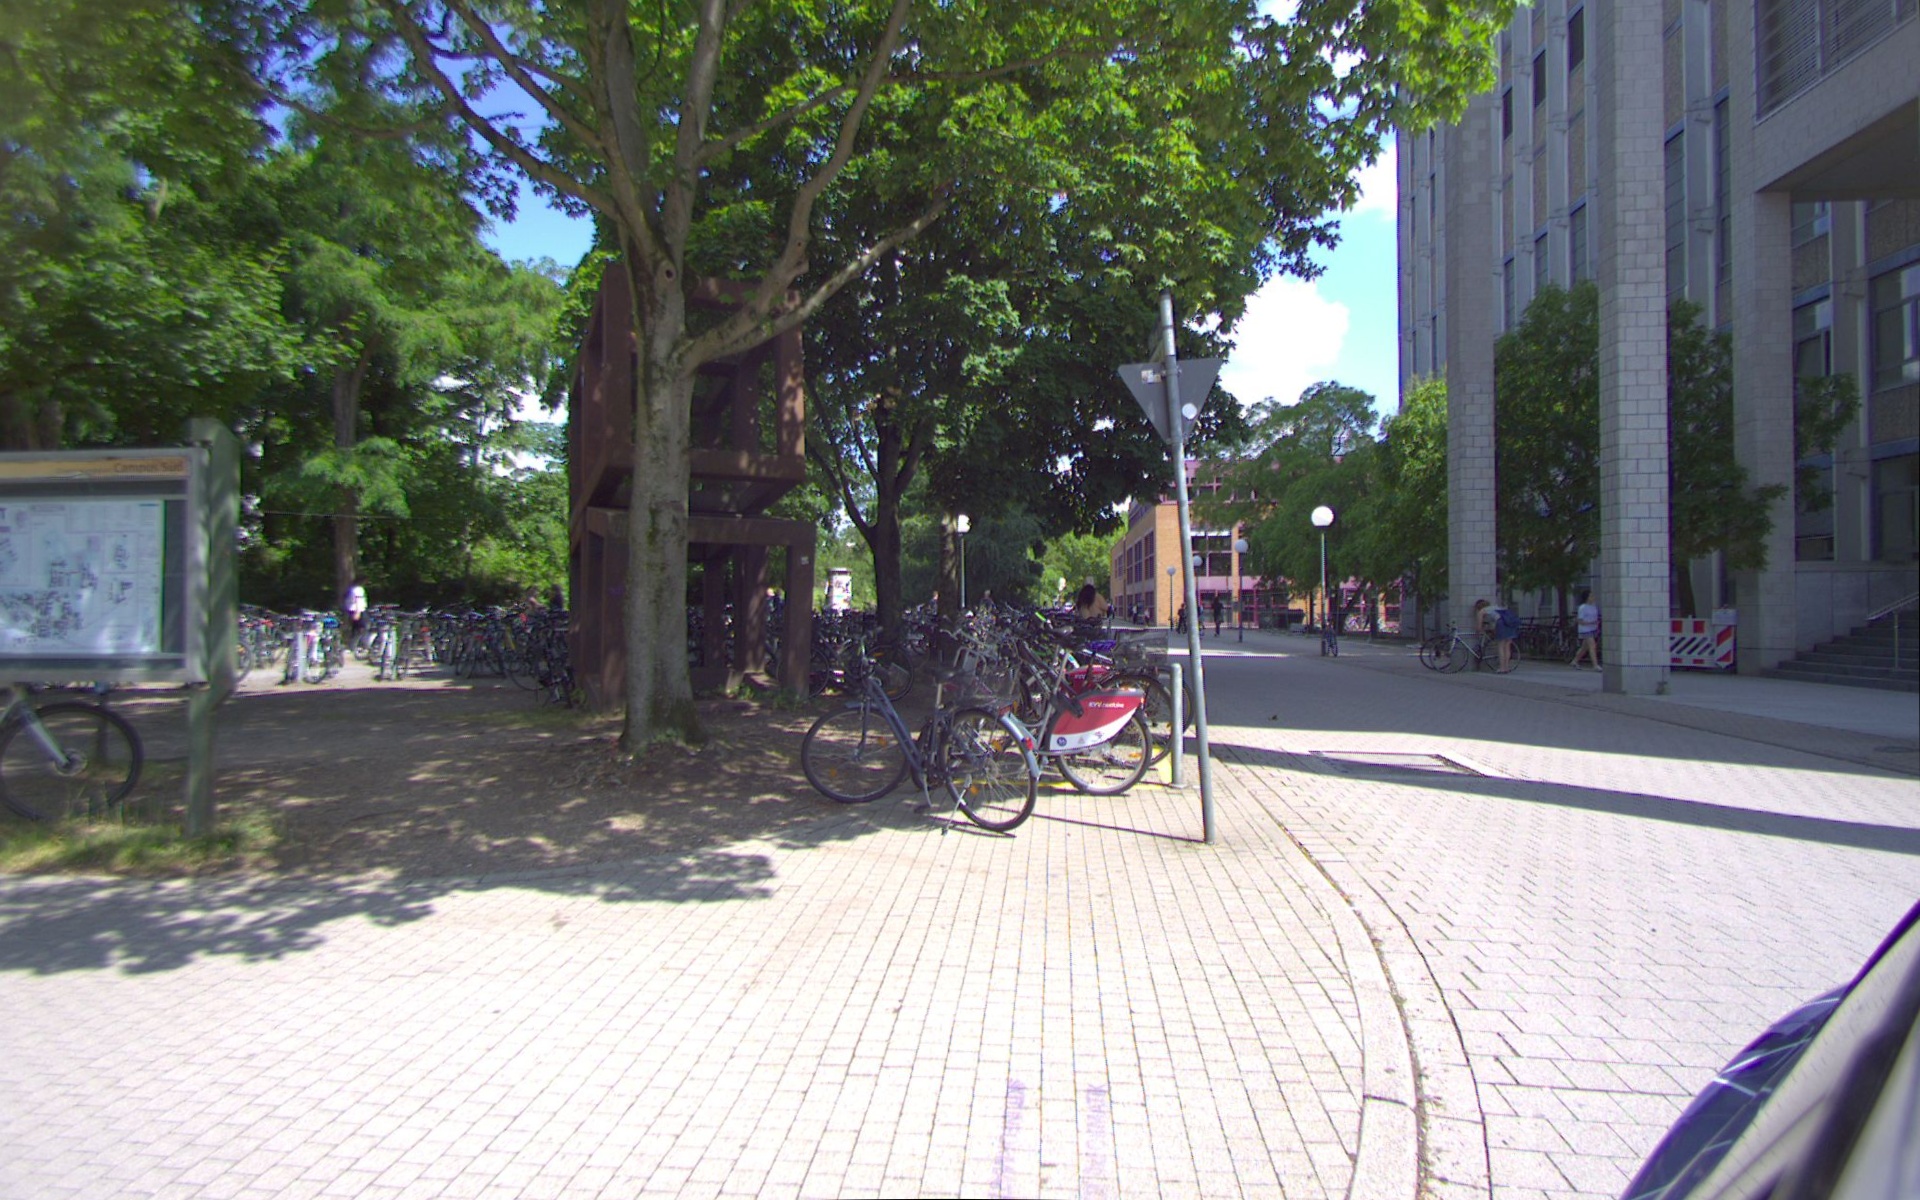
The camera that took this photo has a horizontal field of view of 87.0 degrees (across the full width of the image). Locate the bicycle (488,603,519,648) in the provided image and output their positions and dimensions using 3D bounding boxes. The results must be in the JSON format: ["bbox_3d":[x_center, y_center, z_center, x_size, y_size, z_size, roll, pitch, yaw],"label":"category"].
[{"bbox_3d":[-10.745,0.586,23.805,0.396,0.991,1.597,-1,1,-33],"label":"bicycle"}]

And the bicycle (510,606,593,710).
[{"bbox_3d":[-4.893,0.647,12.045,0.620,1.124,1.926,-1,0,-31],"label":"bicycle"}]

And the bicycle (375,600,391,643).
[{"bbox_3d":[-15.493,0.556,27.172,0.341,1.107,1.613,-1,1,-29],"label":"bicycle"}]

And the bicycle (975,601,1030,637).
[{"bbox_3d":[1.314,0.598,31.475,1.670,1.098,0.474,-1,-3,25],"label":"bicycle"}]

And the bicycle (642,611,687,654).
[{"bbox_3d":[-7.709,0.850,26.340,1.464,1.098,0.347,-2,-4,40],"label":"bicycle"}]

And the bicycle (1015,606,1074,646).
[{"bbox_3d":[2.405,0.747,28.959,1.656,1.098,0.478,1,-3,1],"label":"bicycle"}]

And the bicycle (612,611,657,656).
[{"bbox_3d":[-8.218,0.859,25.521,1.465,1.098,0.347,-2,-4,41],"label":"bicycle"}]

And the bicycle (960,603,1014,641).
[{"bbox_3d":[0.795,0.659,30.267,1.678,1.098,0.472,-1,-4,38],"label":"bicycle"}]

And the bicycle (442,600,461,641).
[{"bbox_3d":[-14.309,0.551,28.465,0.341,1.107,1.612,-1,1,-31],"label":"bicycle"}]

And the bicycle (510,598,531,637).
[{"bbox_3d":[-12.869,0.501,29.613,0.330,1.107,1.612,-1,1,-31],"label":"bicycle"}]

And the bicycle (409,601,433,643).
[{"bbox_3d":[-14.891,0.579,27.940,0.469,1.107,1.612,-1,1,-31],"label":"bicycle"}]

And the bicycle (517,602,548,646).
[{"bbox_3d":[-10.294,0.557,24.355,0.396,0.991,1.597,-1,1,-33],"label":"bicycle"}]

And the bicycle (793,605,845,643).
[{"bbox_3d":[-4.125,0.706,29.521,1.679,1.098,0.472,-2,-4,39],"label":"bicycle"}]

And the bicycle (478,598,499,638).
[{"bbox_3d":[-13.670,0.508,29.327,0.341,1.107,1.612,-1,1,-31],"label":"bicycle"}]

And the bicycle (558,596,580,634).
[{"bbox_3d":[-11.902,0.441,30.779,0.341,1.107,1.612,-1,1,-31],"label":"bicycle"}]

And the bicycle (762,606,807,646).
[{"bbox_3d":[-4.986,0.757,28.695,0.470,1.098,1.686,3,-4,-39],"label":"bicycle"}]

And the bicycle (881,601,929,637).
[{"bbox_3d":[-1.730,0.605,31.489,0.471,1.098,1.683,3,-4,-45],"label":"bicycle"}]

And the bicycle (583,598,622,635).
[{"bbox_3d":[-11.015,0.508,31.147,1.603,1.107,0.343,0,1,40],"label":"bicycle"}]

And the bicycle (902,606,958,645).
[{"bbox_3d":[-0.868,0.730,28.930,1.678,1.098,0.472,-1,-4,38],"label":"bicycle"}]

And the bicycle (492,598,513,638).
[{"bbox_3d":[-13.341,0.508,29.492,0.341,1.107,1.612,-1,1,-31],"label":"bicycle"}]

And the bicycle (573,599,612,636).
[{"bbox_3d":[-11.224,0.523,30.870,1.603,1.107,0.343,0,1,40],"label":"bicycle"}]

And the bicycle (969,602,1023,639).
[{"bbox_3d":[1.072,0.640,30.648,1.678,1.098,0.472,-1,-4,38],"label":"bicycle"}]

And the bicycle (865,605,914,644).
[{"bbox_3d":[-1.985,0.695,28.481,1.461,1.098,0.348,-1,-3,34],"label":"bicycle"}]

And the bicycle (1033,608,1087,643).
[{"bbox_3d":[3.186,0.807,32.244,1.656,1.098,0.528,1,-3,1],"label":"bicycle"}]

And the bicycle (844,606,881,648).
[{"bbox_3d":[-2.674,0.748,27.642,0.444,1.098,1.473,2,-3,-28],"label":"bicycle"}]

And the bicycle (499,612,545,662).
[{"bbox_3d":[-9.467,0.769,21.845,0.470,0.991,1.903,-1,1,-37],"label":"bicycle"}]

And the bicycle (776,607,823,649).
[{"bbox_3d":[-4.124,0.695,25.909,0.469,0.991,1.905,-1,1,-31],"label":"bicycle"}]

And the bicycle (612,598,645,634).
[{"bbox_3d":[-10.334,0.487,31.551,0.342,1.107,1.608,-1,1,-42],"label":"bicycle"}]

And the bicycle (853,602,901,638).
[{"bbox_3d":[-2.569,0.625,31.130,0.471,1.098,1.683,3,-4,-45],"label":"bicycle"}]

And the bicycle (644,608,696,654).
[{"bbox_3d":[-6.761,0.697,23.571,0.470,0.991,1.902,-1,1,-38],"label":"bicycle"}]

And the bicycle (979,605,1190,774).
[{"bbox_3d":[0.890,0.632,7.449,1.463,1.155,0.561,1,1,4],"label":"bicycle"}]

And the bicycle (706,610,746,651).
[{"bbox_3d":[-6.338,0.828,27.347,0.347,1.098,1.468,3,-4,-43],"label":"bicycle"}]

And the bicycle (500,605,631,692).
[{"bbox_3d":[-5.540,0.659,14.250,1.637,1.124,0.476,-2,0,-31],"label":"bicycle"}]

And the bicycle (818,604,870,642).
[{"bbox_3d":[-3.441,0.681,29.993,1.679,1.098,0.472,-2,-4,39],"label":"bicycle"}]

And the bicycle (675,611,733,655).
[{"bbox_3d":[-6.147,0.778,24.265,0.471,0.991,1.899,-1,1,-43],"label":"bicycle"}]

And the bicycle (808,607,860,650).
[{"bbox_3d":[-3.336,0.762,26.733,1.464,1.098,0.472,-2,-4,39],"label":"bicycle"}]

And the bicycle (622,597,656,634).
[{"bbox_3d":[-10.087,0.474,31.787,0.342,1.107,1.608,-1,1,-42],"label":"bicycle"}]

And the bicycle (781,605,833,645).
[{"bbox_3d":[-4.416,0.726,29.141,1.679,1.098,0.472,-2,-4,39],"label":"bicycle"}]

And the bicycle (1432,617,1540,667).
[{"bbox_3d":[9.870,0.796,19.030,1.748,0.911,0.336,-1,-2,12],"label":"bicycle"}]

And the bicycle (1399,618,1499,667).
[{"bbox_3d":[9.600,0.825,19.928,1.757,0.911,0.444,0,-1,25],"label":"bicycle"}]

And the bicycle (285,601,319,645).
[{"bbox_3d":[-17.374,0.582,26.750,0.468,1.107,1.614,-1,1,-23],"label":"bicycle"}]

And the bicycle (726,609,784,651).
[{"bbox_3d":[-5.137,0.726,25.295,0.471,0.991,1.899,-1,1,-43],"label":"bicycle"}]

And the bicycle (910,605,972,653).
[{"bbox_3d":[-0.456,0.685,24.057,1.445,1.097,0.352,-1,-1,3],"label":"bicycle"}]

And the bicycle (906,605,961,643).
[{"bbox_3d":[-0.774,0.703,29.467,1.678,1.098,0.472,-1,-4,38],"label":"bicycle"}]

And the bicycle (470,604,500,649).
[{"bbox_3d":[-11.084,0.598,23.589,0.396,0.991,1.597,-1,1,-33],"label":"bicycle"}]

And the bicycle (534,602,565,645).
[{"bbox_3d":[-9.967,0.549,24.566,0.396,0.991,1.597,-1,1,-33],"label":"bicycle"}]

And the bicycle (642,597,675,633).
[{"bbox_3d":[-9.578,0.456,32.132,0.342,1.107,1.608,-1,1,-42],"label":"bicycle"}]

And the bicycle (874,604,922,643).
[{"bbox_3d":[-1.770,0.678,28.810,1.461,1.098,0.348,-1,-3,34],"label":"bicycle"}]

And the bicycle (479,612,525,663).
[{"bbox_3d":[-9.785,0.780,21.597,0.470,0.991,1.903,-1,1,-37],"label":"bicycle"}]

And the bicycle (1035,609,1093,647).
[{"bbox_3d":[3.100,0.837,30.253,1.656,1.098,0.528,1,-3,1],"label":"bicycle"}]

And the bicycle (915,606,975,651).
[{"bbox_3d":[-0.383,0.697,25.122,1.442,1.097,0.353,-1,-1,-6],"label":"bicycle"}]

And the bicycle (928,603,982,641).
[{"bbox_3d":[-0.158,0.674,30.028,1.678,1.098,0.472,-1,-4,38],"label":"bicycle"}]

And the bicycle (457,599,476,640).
[{"bbox_3d":[-13.977,0.543,28.646,0.341,1.107,1.612,-1,1,-31],"label":"bicycle"}]

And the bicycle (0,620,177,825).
[{"bbox_3d":[-5.647,0.715,5.829,1.653,1.097,0.630,-3,-2,-17],"label":"bicycle"}]

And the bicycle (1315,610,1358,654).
[{"bbox_3d":[9.998,0.826,26.922,0.560,1.117,1.831,1,-1,3],"label":"bicycle"}]

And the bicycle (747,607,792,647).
[{"bbox_3d":[-5.351,0.773,28.395,0.470,1.098,1.686,3,-4,-39],"label":"bicycle"}]

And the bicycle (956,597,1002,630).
[{"bbox_3d":[0.635,0.465,34.149,1.681,1.098,0.471,-2,-4,43],"label":"bicycle"}]
